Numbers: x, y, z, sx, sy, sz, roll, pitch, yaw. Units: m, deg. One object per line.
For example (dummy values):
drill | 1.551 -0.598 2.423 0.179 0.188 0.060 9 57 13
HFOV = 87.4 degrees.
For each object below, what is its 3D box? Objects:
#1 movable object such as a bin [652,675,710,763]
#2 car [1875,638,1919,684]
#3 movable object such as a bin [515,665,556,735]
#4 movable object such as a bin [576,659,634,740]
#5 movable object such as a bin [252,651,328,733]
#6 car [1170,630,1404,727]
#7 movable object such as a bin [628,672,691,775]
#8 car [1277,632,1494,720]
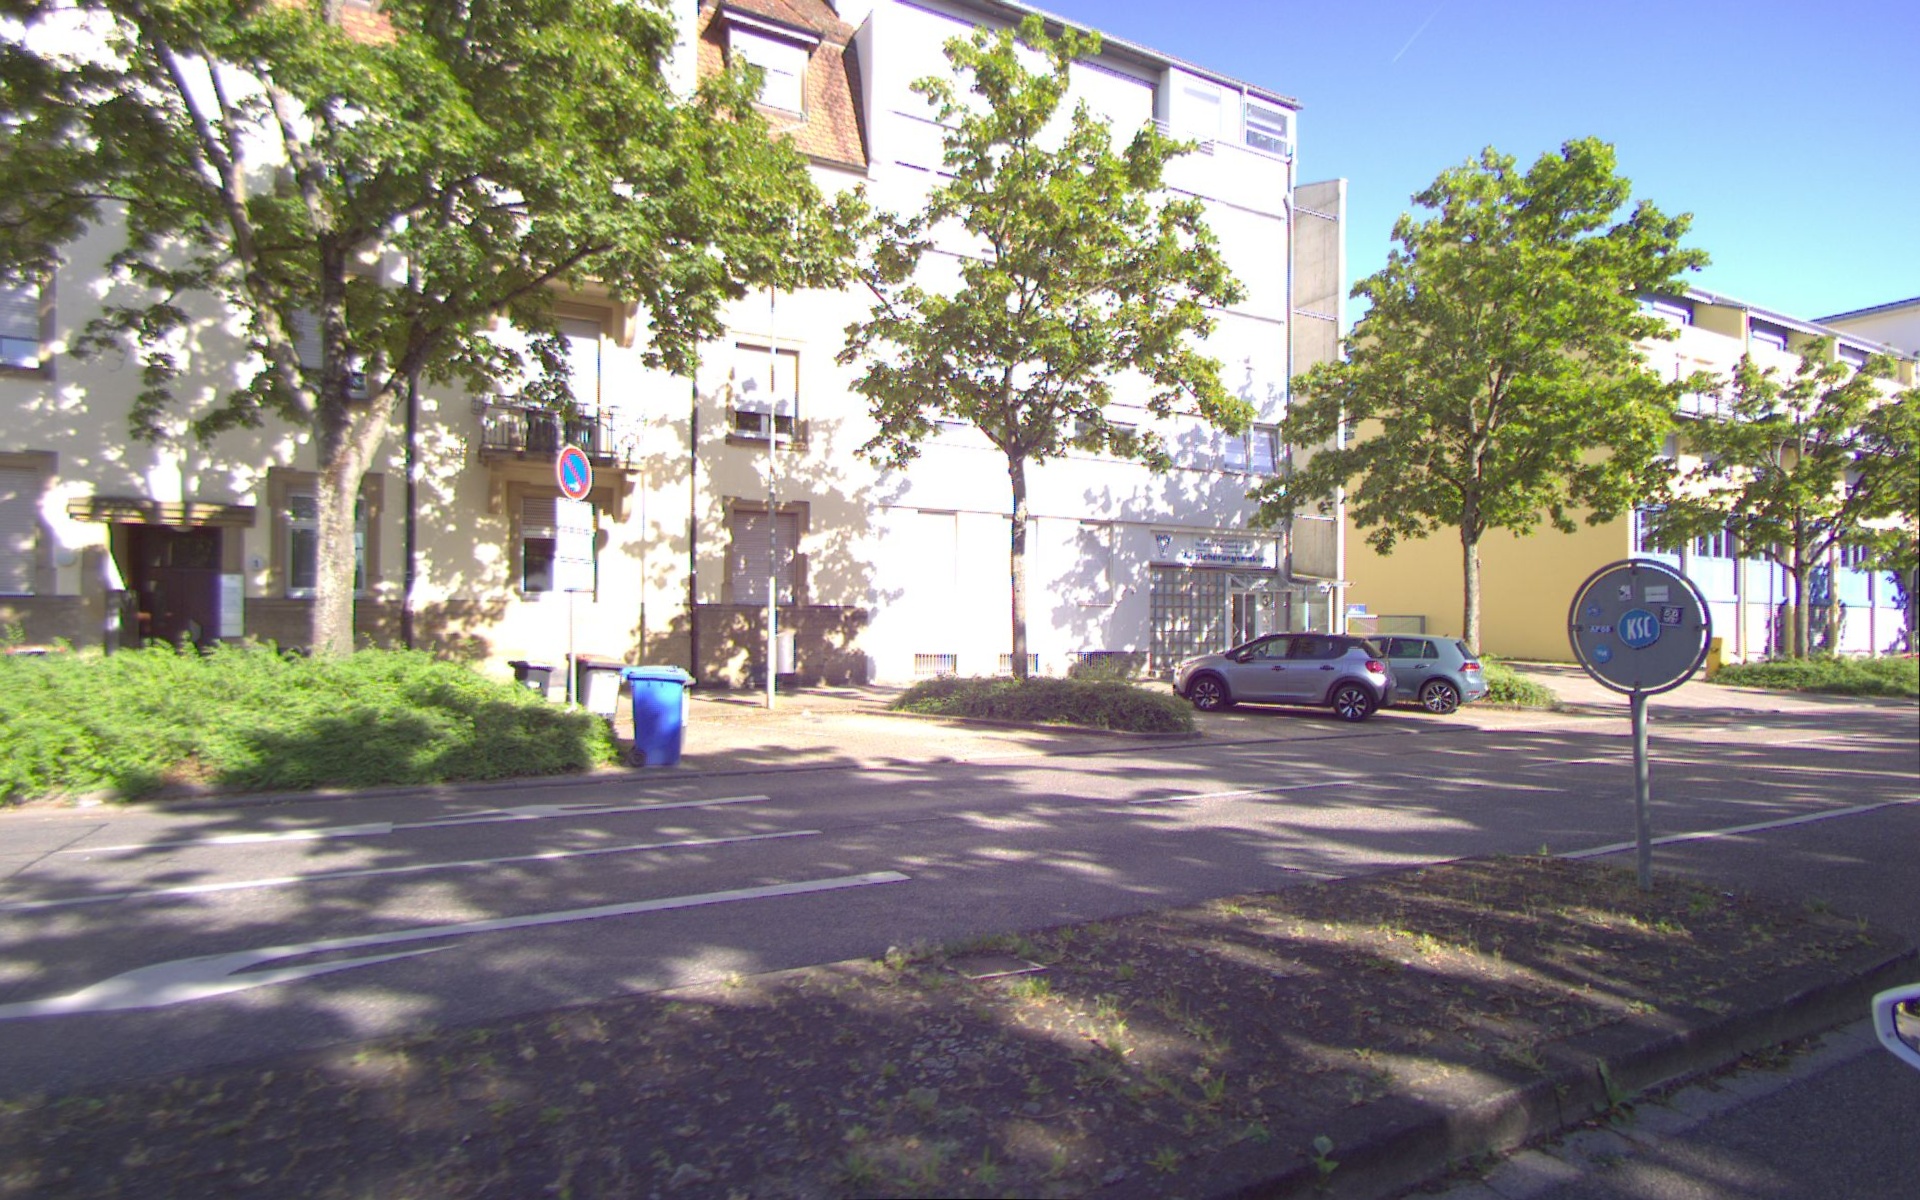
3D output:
movable object such as a bin | -3.339 1.407 12.012 0.628 0.989 0.513 1 0 -19
car | 34.120 2.090 34.056 4.351 1.573 1.914 -1 -2 37
movable object such as a bin | -5.435 1.272 12.871 0.432 0.865 0.403 1 0 -19
movable object such as a bin | -4.270 1.187 12.108 0.628 0.925 0.513 1 0 -19
movable object such as a bin | -8.824 1.193 13.253 0.628 1.013 0.782 1 0 -19
car | 6.002 1.368 18.481 3.816 1.530 1.825 1 -1 30
movable object such as a bin | -3.299 1.339 11.025 0.628 1.061 0.513 1 0 -19
car | 8.510 1.453 20.132 3.817 1.530 1.825 0 -1 30
